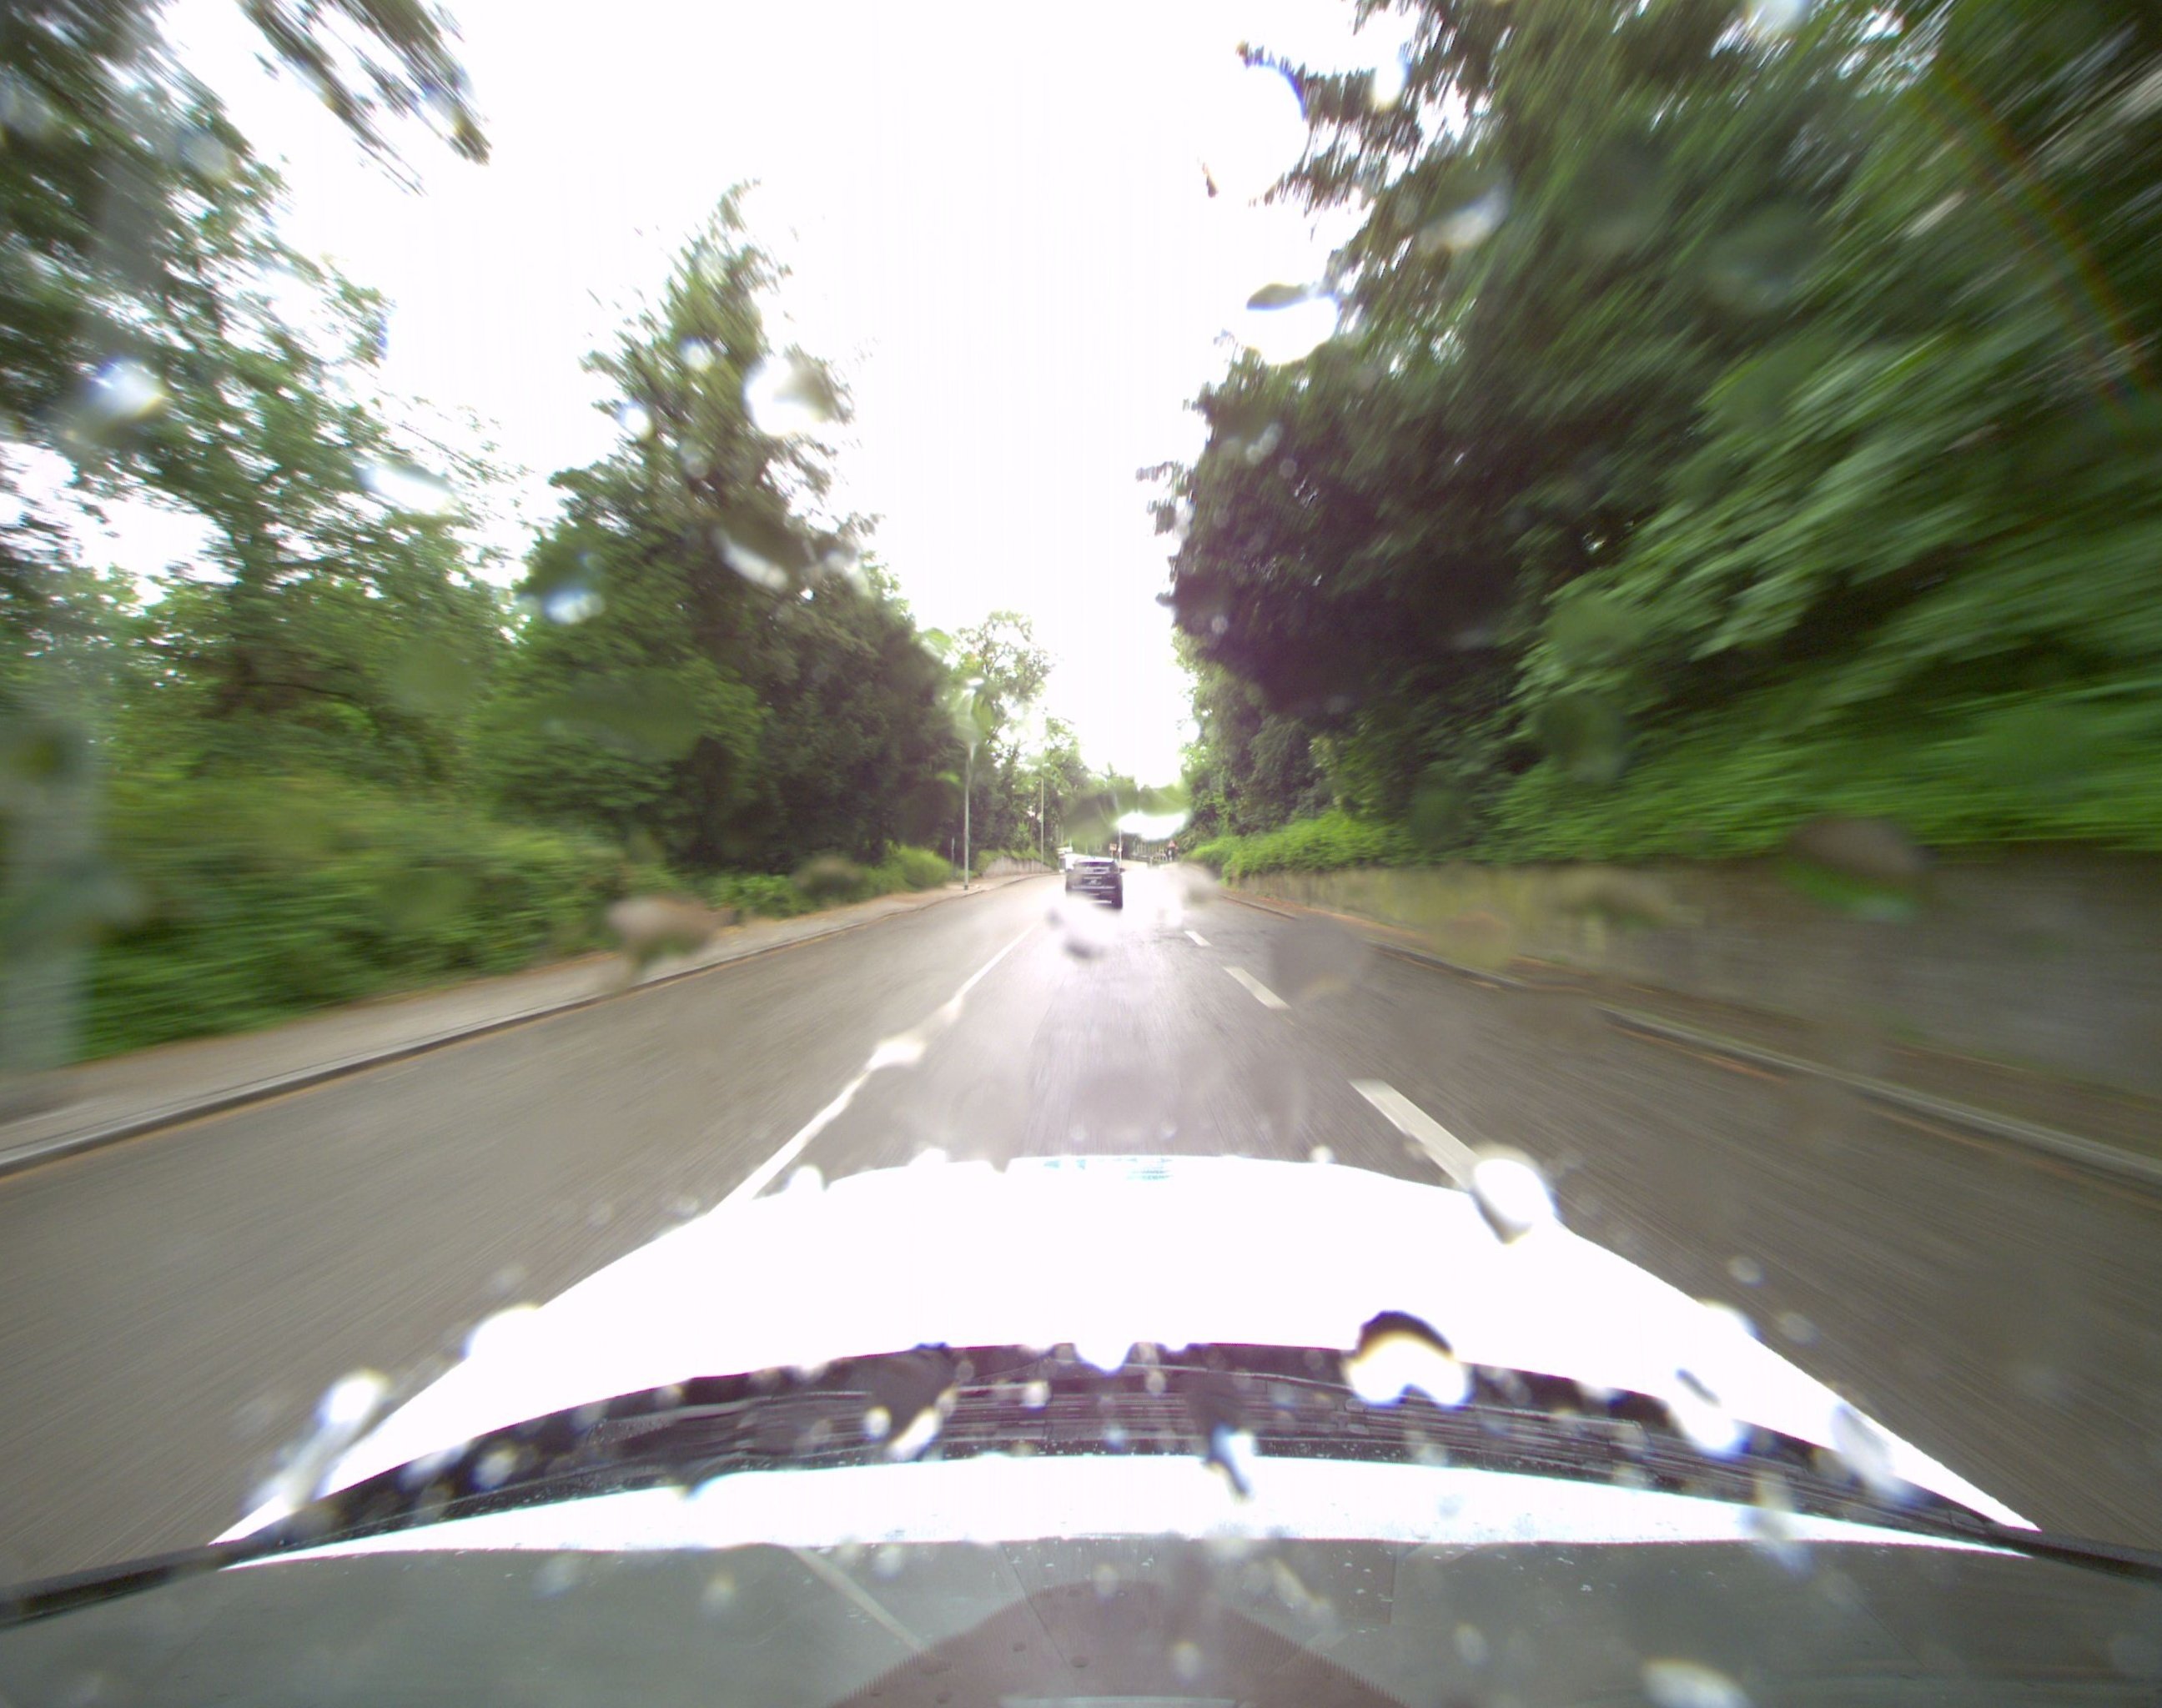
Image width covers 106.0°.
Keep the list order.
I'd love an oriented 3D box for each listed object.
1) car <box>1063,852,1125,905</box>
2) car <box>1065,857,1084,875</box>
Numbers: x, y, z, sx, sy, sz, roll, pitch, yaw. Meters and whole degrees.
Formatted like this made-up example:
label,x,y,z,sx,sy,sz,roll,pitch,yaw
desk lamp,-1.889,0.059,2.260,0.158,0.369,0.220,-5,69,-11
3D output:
label,x,y,z,sx,sy,sz,roll,pitch,yaw
car,0.456,0.776,27.039,1.921,1.613,4.001,0,0,2
car,-0.573,1.142,80.667,1.824,1.711,4.000,0,0,0
